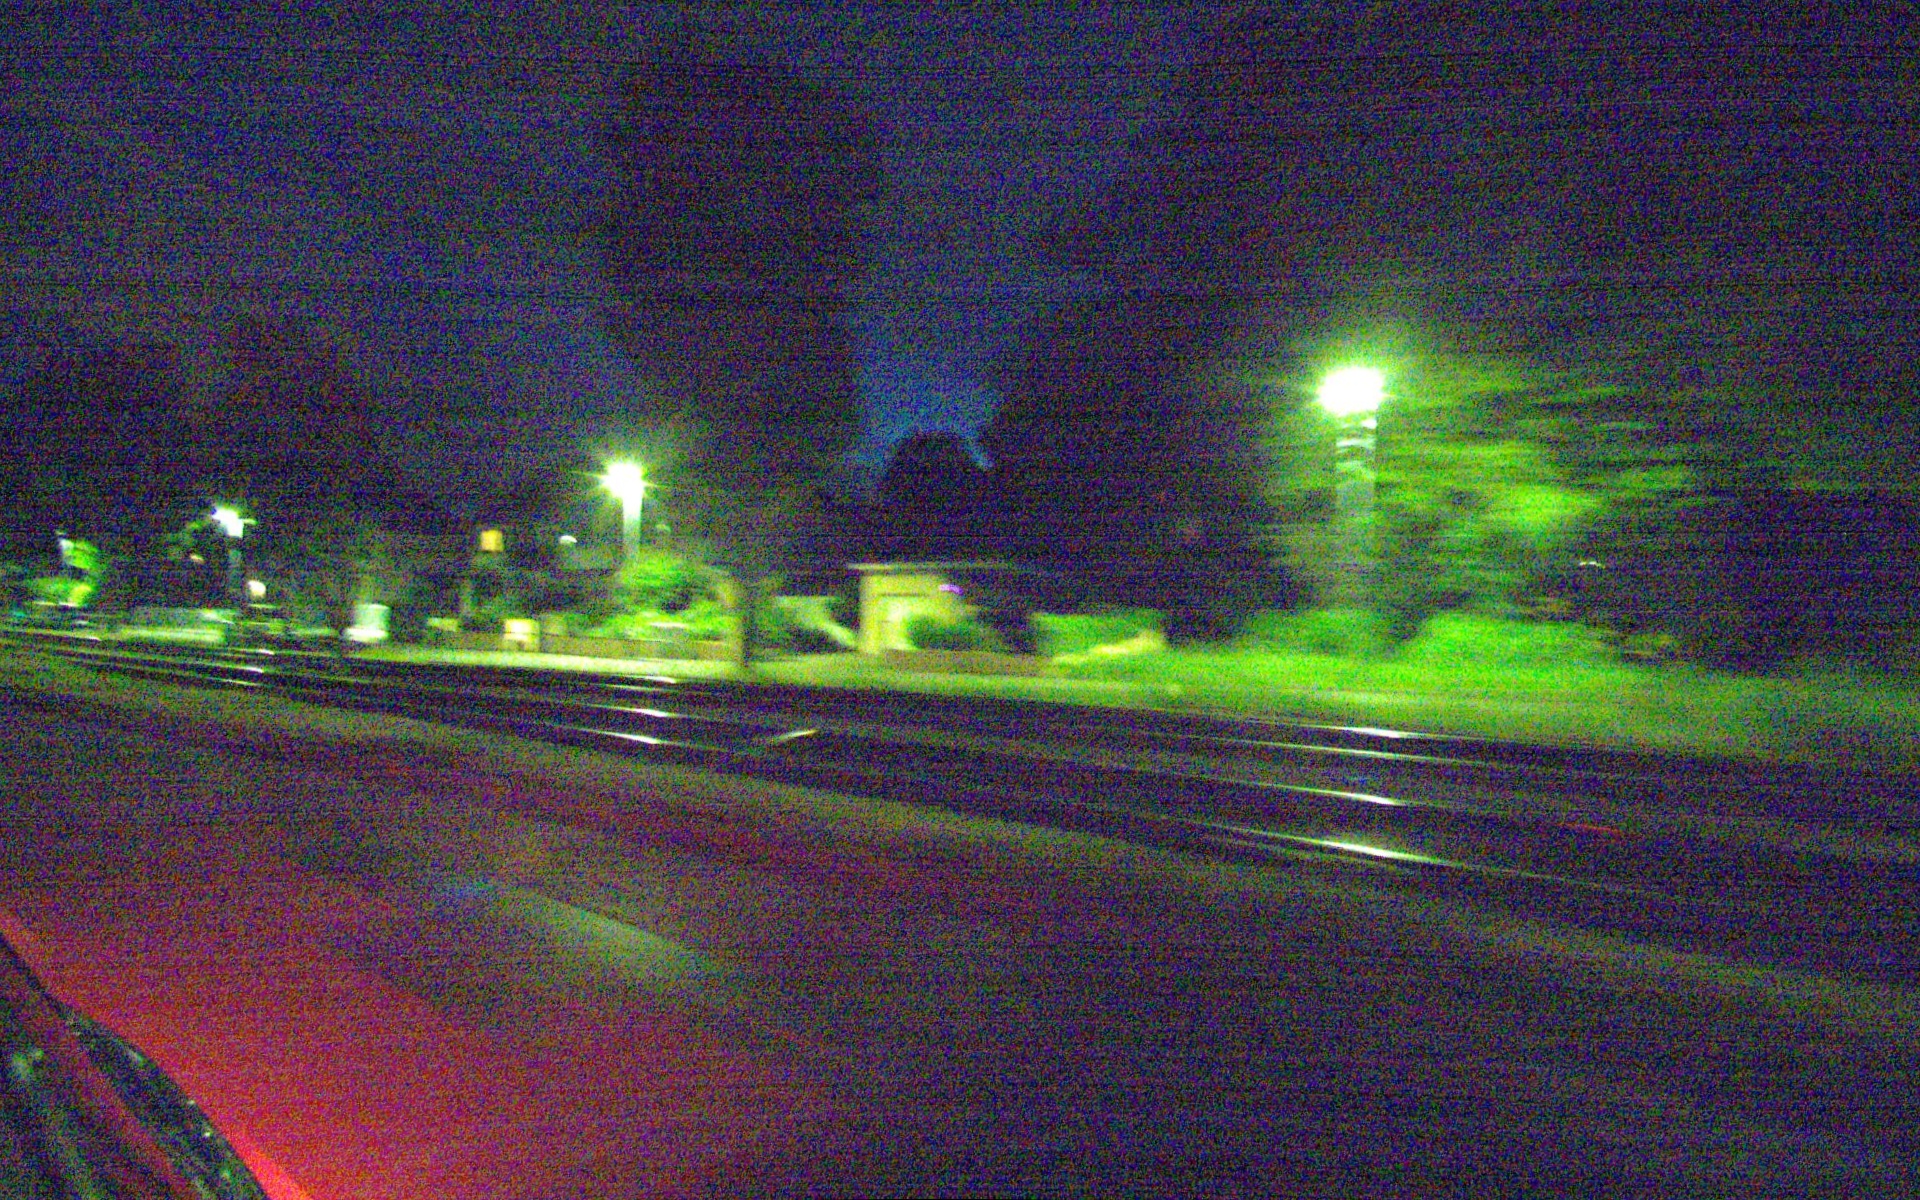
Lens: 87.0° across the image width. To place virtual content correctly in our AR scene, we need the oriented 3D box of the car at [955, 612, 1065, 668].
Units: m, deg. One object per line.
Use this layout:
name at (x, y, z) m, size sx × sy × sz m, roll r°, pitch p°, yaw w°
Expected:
car at (1.743, 1.291, 33.966) m, size 1.755 × 1.621 × 3.949 m, roll 1°, pitch 1°, yaw 38°

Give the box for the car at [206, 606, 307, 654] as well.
car at (-26.679, 1.117, 38.340) m, size 4.527 × 1.589 × 1.701 m, roll 1°, pitch -4°, yaw 37°

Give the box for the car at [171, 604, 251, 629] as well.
car at (-50.921, 1.068, 68.849) m, size 1.884 × 1.554 × 3.955 m, roll 1°, pitch 1°, yaw 33°

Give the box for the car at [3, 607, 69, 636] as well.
car at (-51.891, 1.207, 56.826) m, size 4.977 × 1.375 × 1.882 m, roll 1°, pitch -3°, yaw 38°

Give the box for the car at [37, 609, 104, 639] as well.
car at (-46.833, 1.240, 53.260) m, size 4.137 × 1.375 × 1.713 m, roll 1°, pitch -3°, yaw 36°

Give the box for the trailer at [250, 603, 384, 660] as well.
trailer at (-22.502, 1.064, 35.323) m, size 5.664 × 1.794 × 2.006 m, roll 0°, pitch -3°, yaw 37°
